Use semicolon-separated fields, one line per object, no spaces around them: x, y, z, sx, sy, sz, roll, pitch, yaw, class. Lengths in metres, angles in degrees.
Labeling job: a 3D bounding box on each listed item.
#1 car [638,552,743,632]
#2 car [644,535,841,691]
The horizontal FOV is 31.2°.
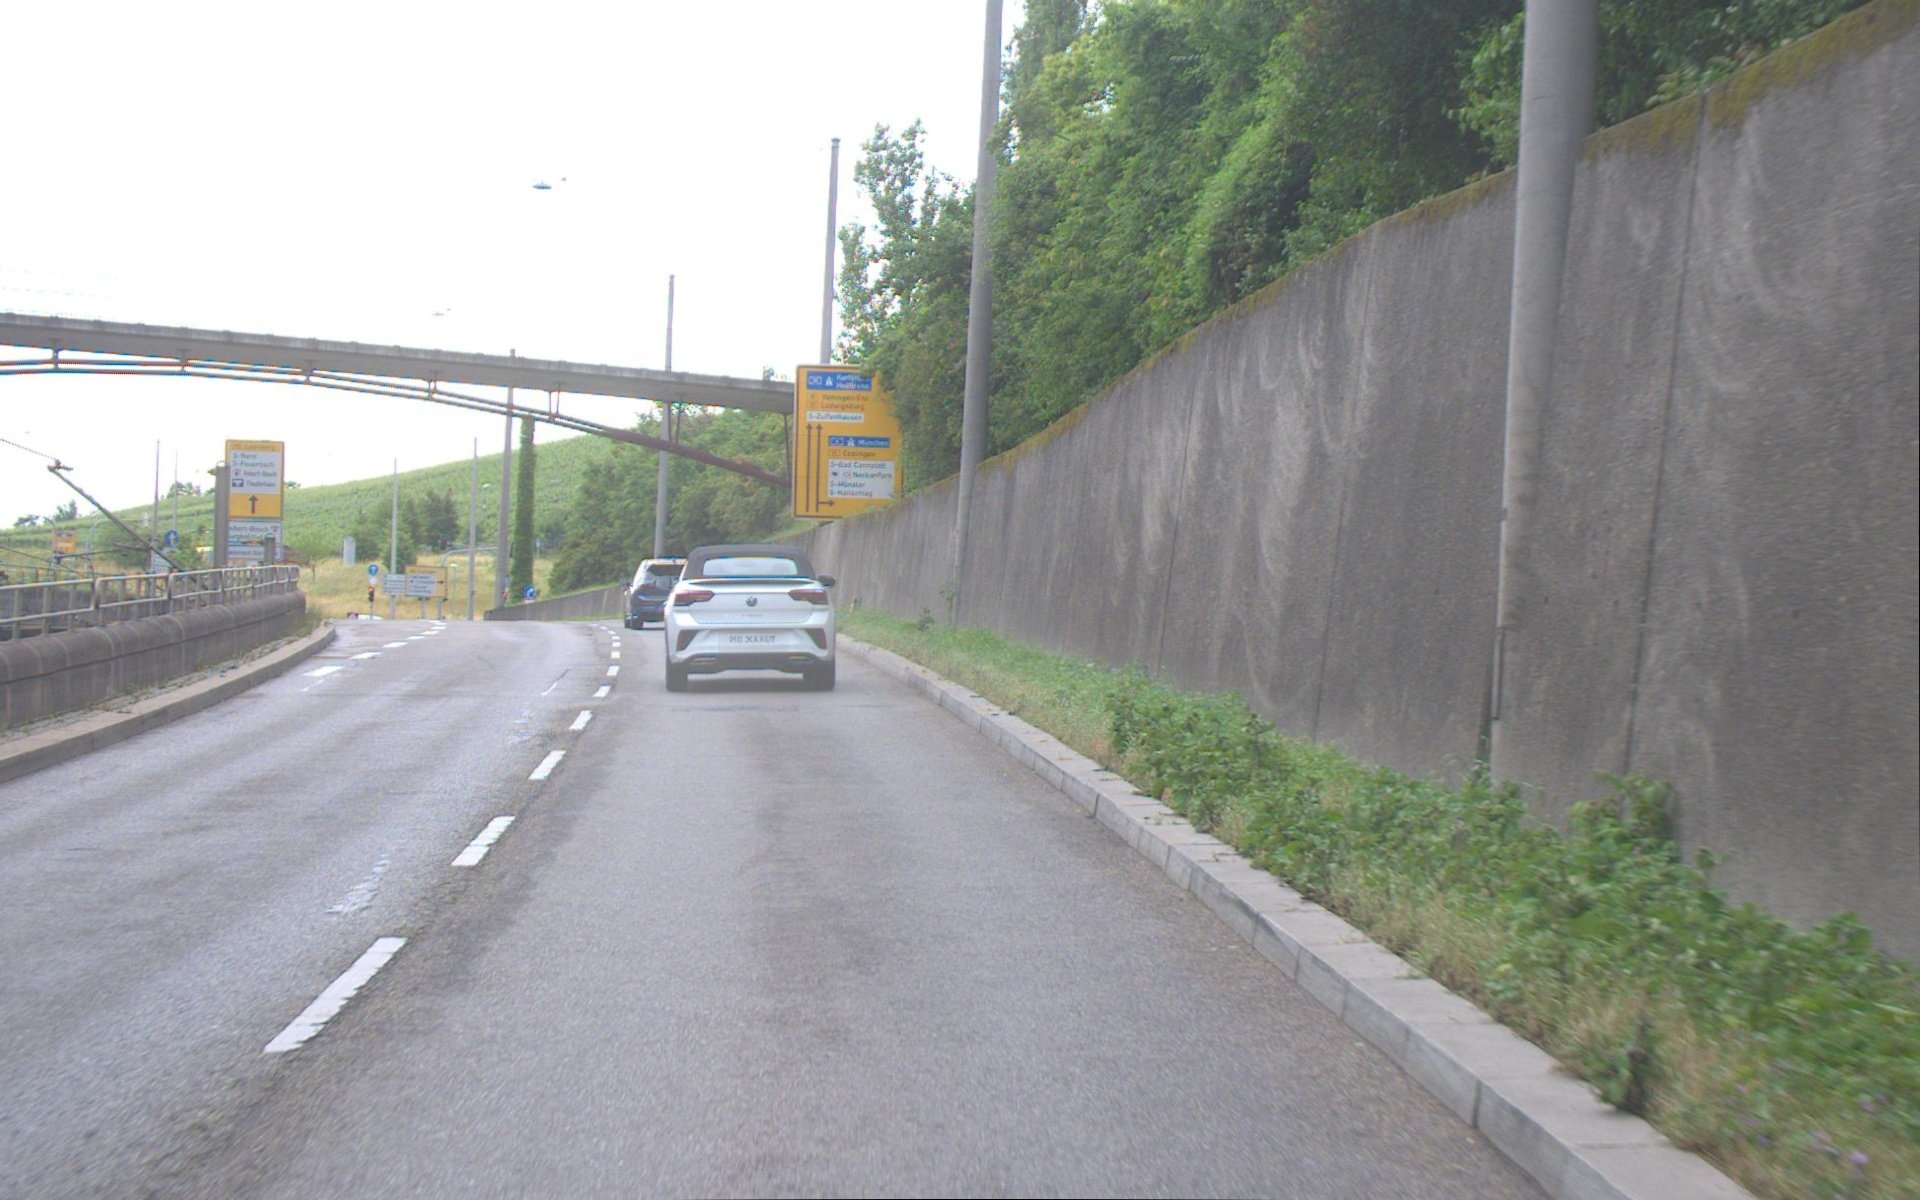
-5.551;-0.186;71.238;1.926;1.594;4.062;0;1;-1;car
-2.355;0.098;37.160;1.995;1.573;4.126;0;1;-4;car
